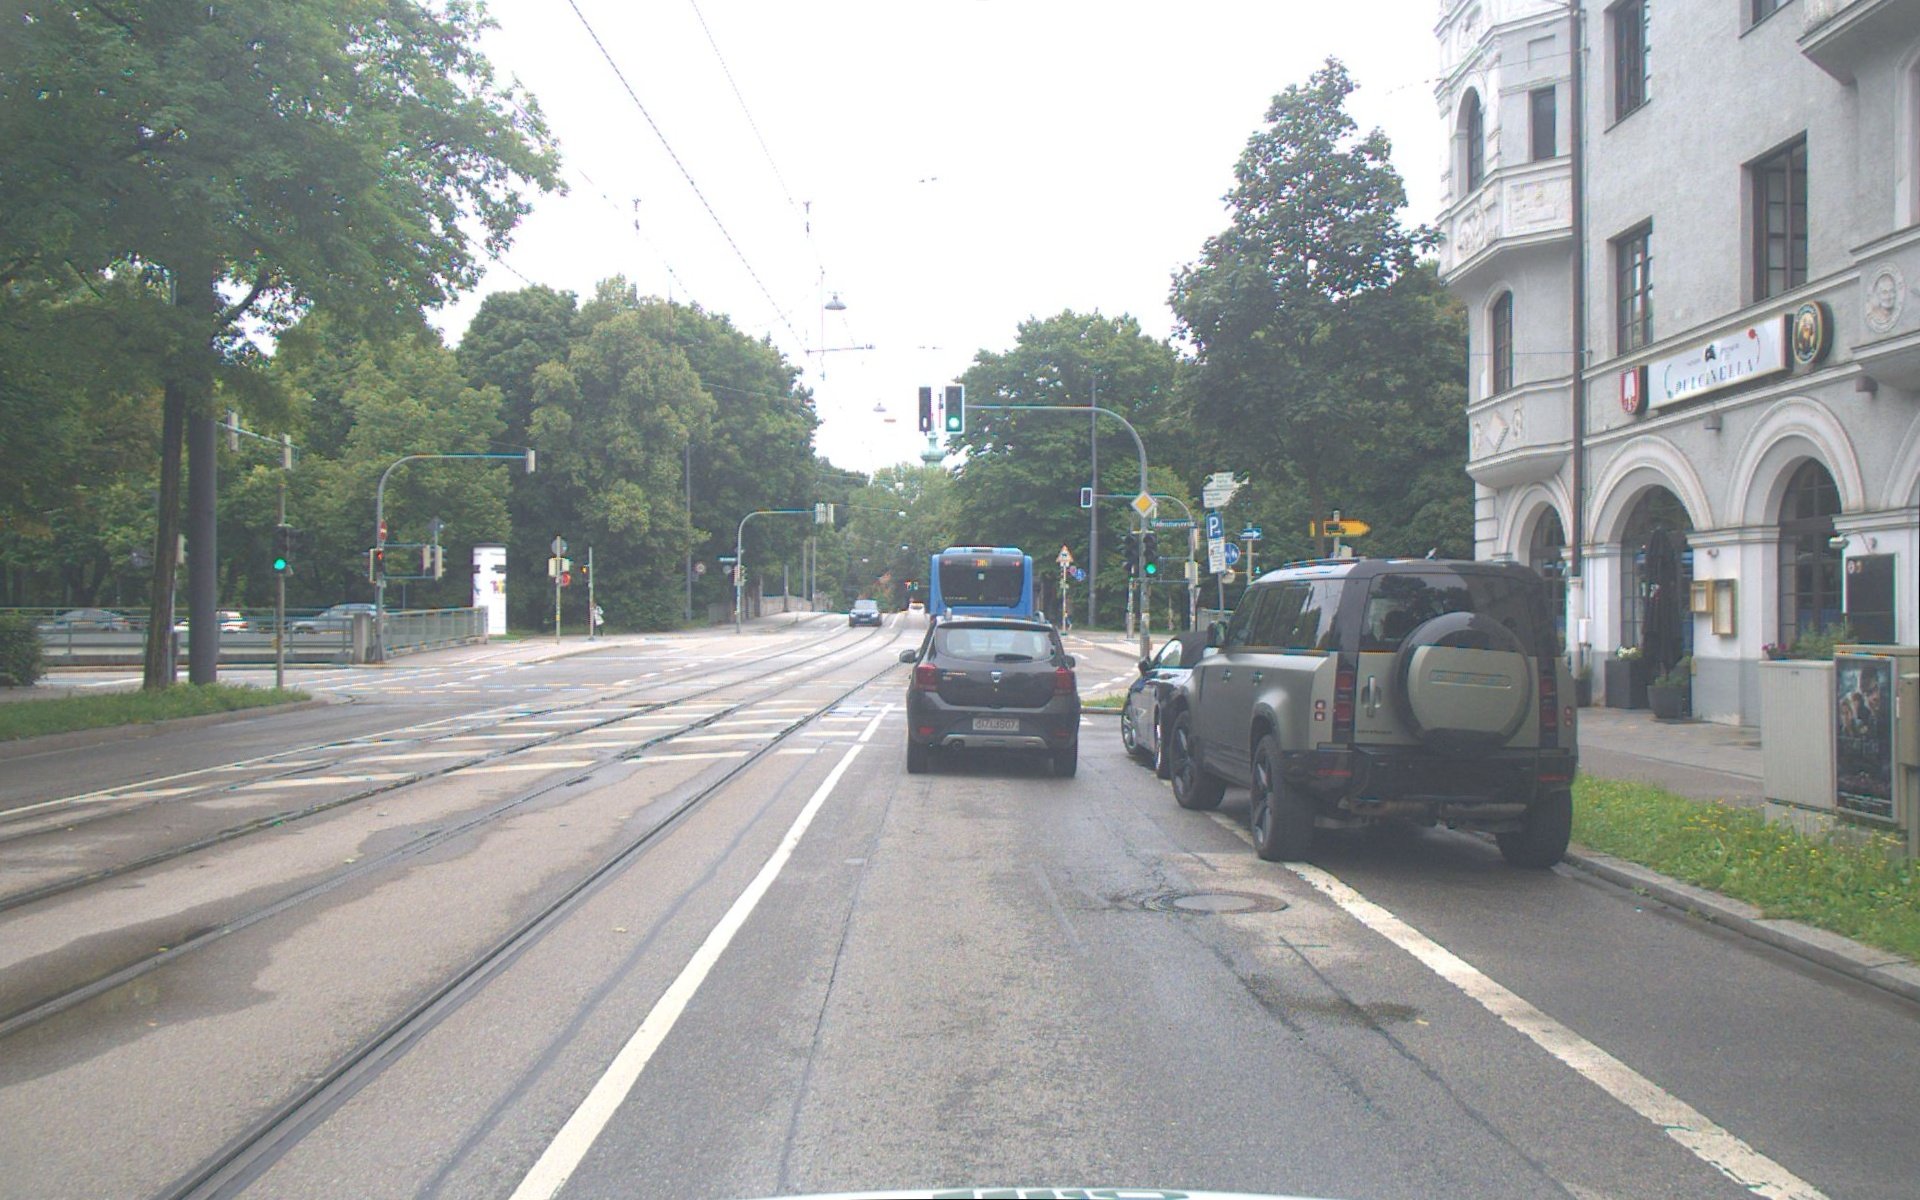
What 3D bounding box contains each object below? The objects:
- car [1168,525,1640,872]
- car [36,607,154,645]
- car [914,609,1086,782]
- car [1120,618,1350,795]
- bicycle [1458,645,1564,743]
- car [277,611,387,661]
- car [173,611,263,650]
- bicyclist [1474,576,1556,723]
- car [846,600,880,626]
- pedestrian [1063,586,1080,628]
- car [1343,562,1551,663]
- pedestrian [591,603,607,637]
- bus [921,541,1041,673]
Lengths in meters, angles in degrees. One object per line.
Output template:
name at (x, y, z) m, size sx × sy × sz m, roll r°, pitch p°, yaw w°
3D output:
car at (2.867, 0.603, 11.906) m, size 1.876 × 1.939 × 4.805 m, roll 2°, pitch -1°, yaw -3°
car at (-35.254, 1.059, 67.459) m, size 3.848 × 1.429 × 1.719 m, roll 2°, pitch -1°, yaw -5°
car at (0.344, 0.922, 17.306) m, size 1.568 × 1.584 × 3.524 m, roll 2°, pitch -1°, yaw -1°
car at (2.802, 1.037, 17.742) m, size 1.679 × 1.619 × 4.326 m, roll 2°, pitch -1°, yaw -1°
bicycle at (6.769, 1.134, 20.411) m, size 0.567 × 1.097 × 1.911 m, roll -2°, pitch -1°, yaw -2°
car at (-25.863, 1.478, 68.211) m, size 3.946 × 1.920 × 1.488 m, roll 2°, pitch -1°, yaw -7°
car at (-30.381, 1.244, 67.781) m, size 3.050 × 1.477 × 1.249 m, roll 2°, pitch -1°, yaw -6°
bicyclist at (6.798, 0.600, 20.278) m, size 0.709 × 1.759 × 0.726 m, roll 2°, pitch -1°, yaw -2°
car at (-5.420, 0.726, 92.681) m, size 1.752 × 1.394 × 3.398 m, roll 2°, pitch -1°, yaw -2°
pedestrian at (5.717, 0.364, 85.000) m, size 0.747 × 2.153 × 0.853 m, roll 2°, pitch -1°, yaw -1°
car at (13.763, 0.369, 46.911) m, size 5.190 × 2.658 × 2.229 m, roll 2°, pitch -1°, yaw -4°
pedestrian at (-16.145, 0.899, 73.947) m, size 0.520 × 1.528 × 0.588 m, roll 2°, pitch -1°, yaw 4°
bus at (0.423, 0.219, 42.506) m, size 2.625 × 3.050 × 6.957 m, roll 2°, pitch -1°, yaw -2°
